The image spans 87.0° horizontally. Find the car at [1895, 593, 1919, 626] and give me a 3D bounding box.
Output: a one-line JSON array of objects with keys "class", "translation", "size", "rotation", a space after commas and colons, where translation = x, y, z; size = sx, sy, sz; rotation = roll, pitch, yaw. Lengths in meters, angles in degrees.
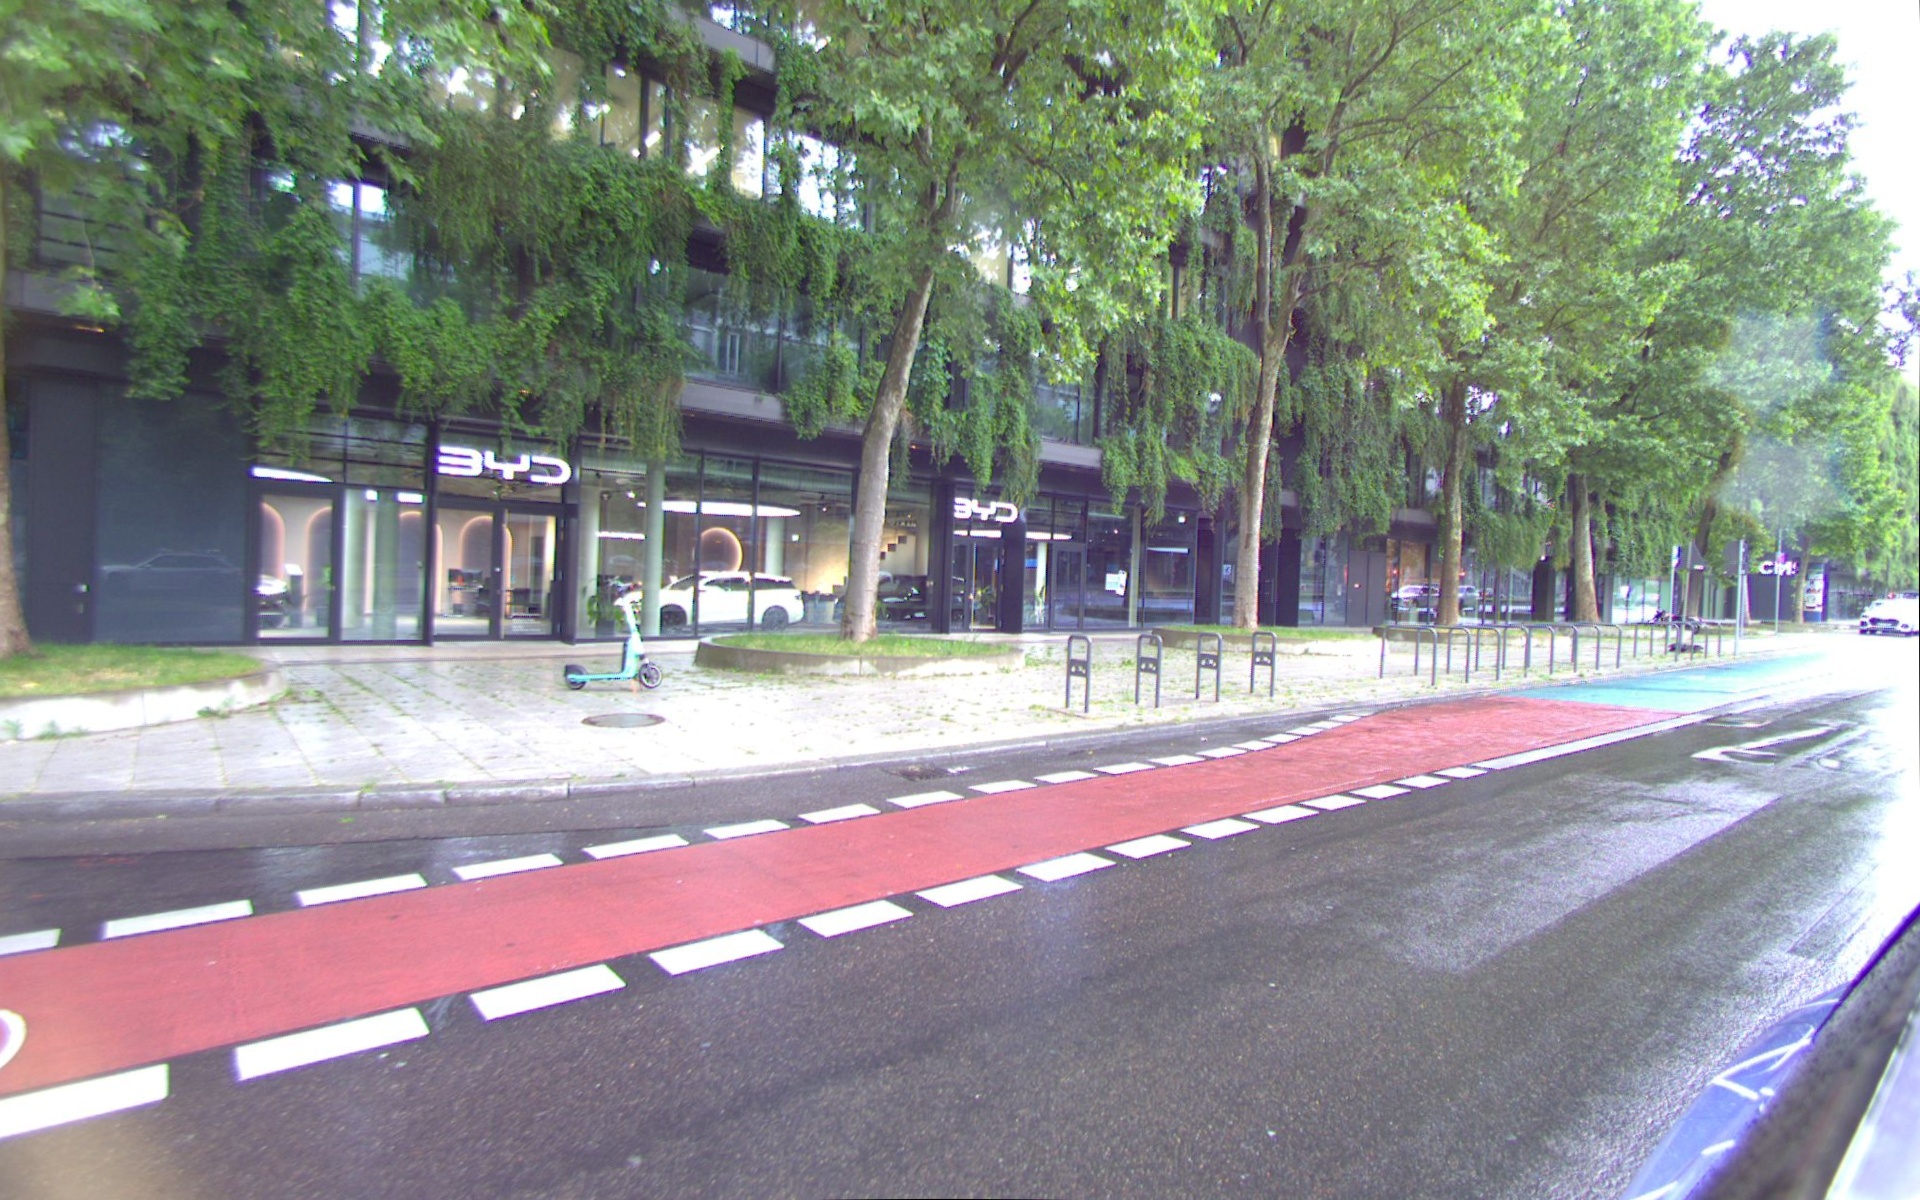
[{"class": "car", "translation": [49.291, 0.479, 51.417], "size": [4.503, 1.581, 2.035], "rotation": [-1, 1, -39]}]

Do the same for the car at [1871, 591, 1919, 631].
[{"class": "car", "translation": [44.629, 0.495, 47.723], "size": [4.519, 1.757, 1.931], "rotation": [-1, 1, -41]}]

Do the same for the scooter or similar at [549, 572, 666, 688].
[{"class": "scooter or similar", "translation": [-4.050, 0.331, 11.656], "size": [1.165, 1.298, 0.535], "rotation": [0, 0, 10]}]
